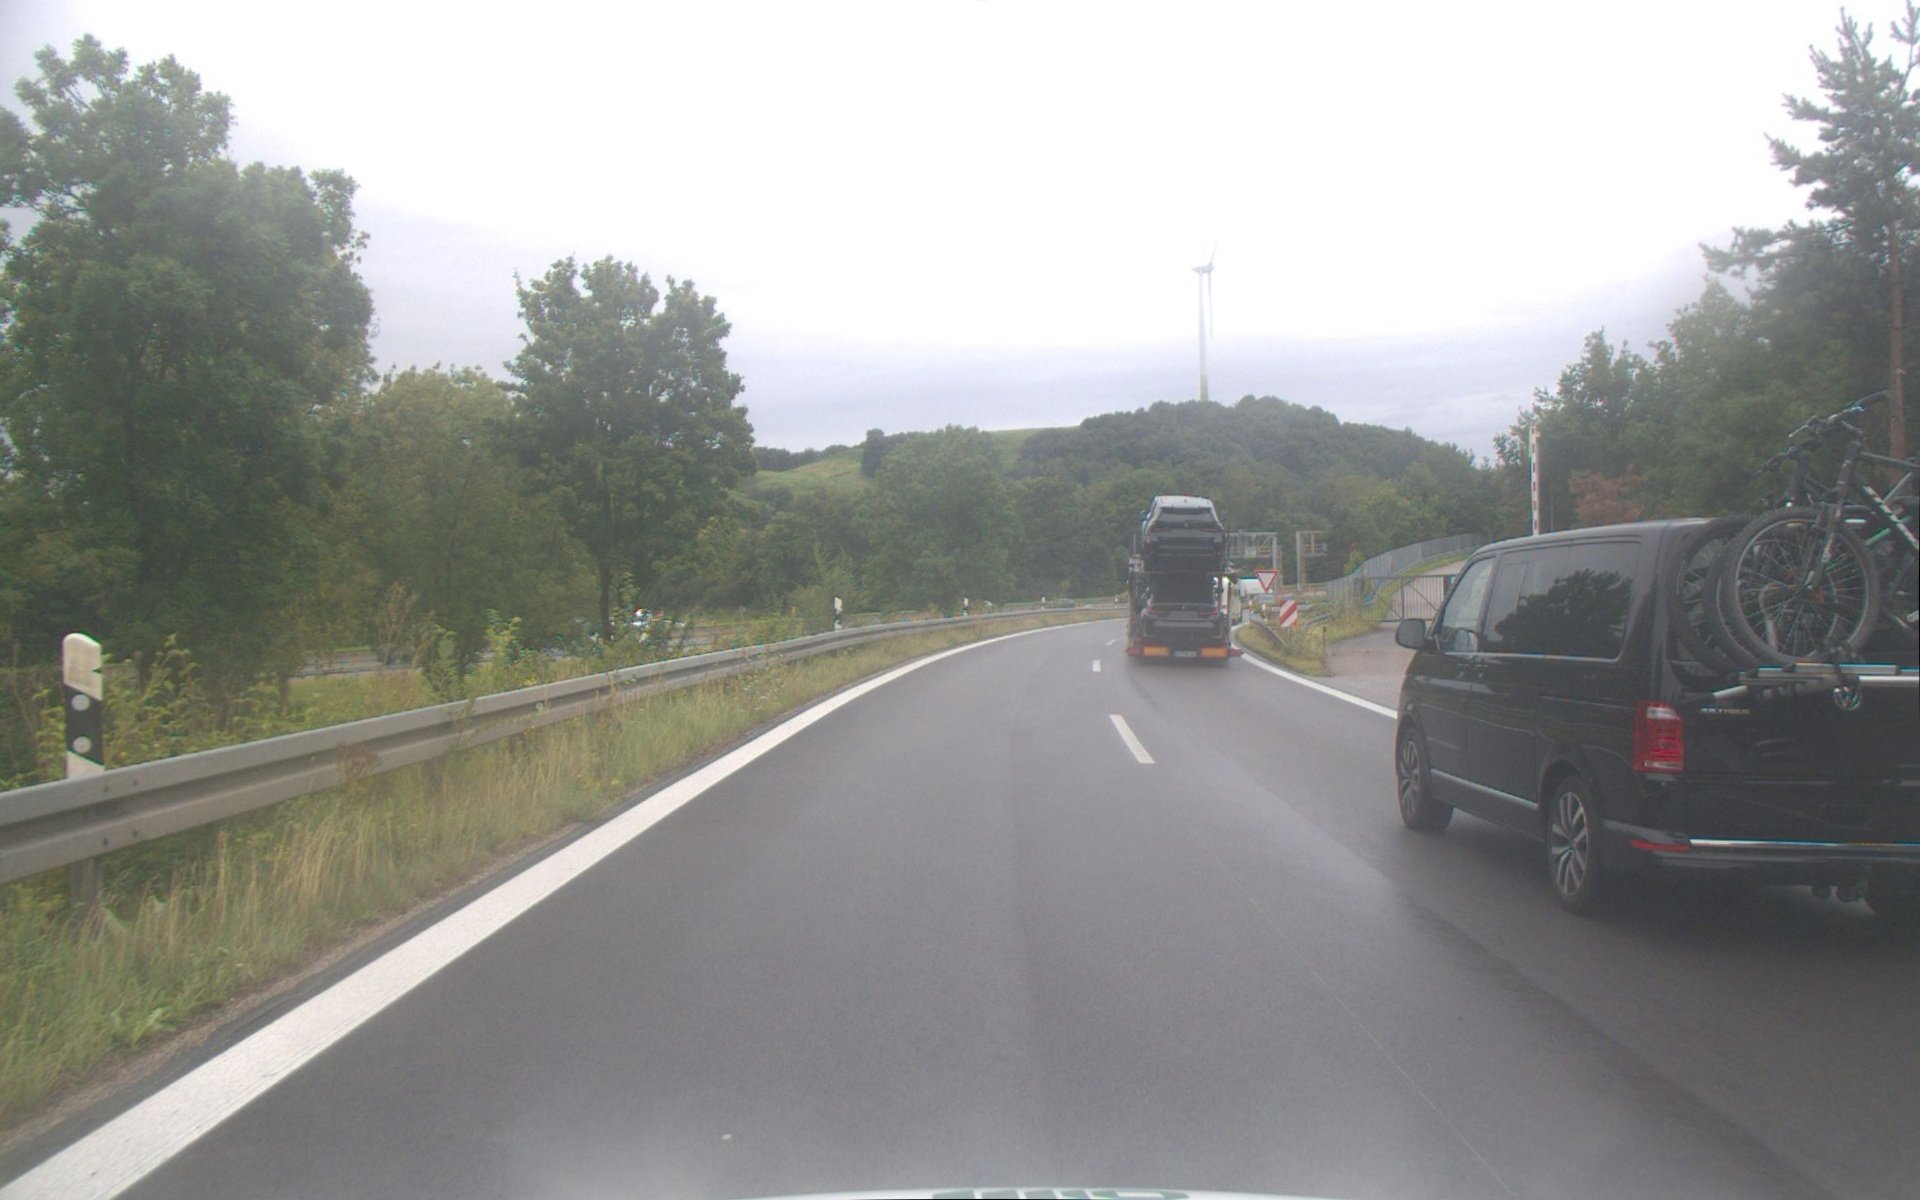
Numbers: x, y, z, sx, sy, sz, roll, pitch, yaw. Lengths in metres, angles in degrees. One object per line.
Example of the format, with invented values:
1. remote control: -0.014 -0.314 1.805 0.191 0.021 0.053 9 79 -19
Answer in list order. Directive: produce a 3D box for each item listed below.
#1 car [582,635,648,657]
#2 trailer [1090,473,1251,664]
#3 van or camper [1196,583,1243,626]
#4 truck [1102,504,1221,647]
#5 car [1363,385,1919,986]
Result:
1. car: -29.086 3.867 139.702 5.283 1.747 1.967 0 -1 -44
2. trailer: 5.218 -0.707 41.970 3.376 4.069 12.035 1 0 6
3. van or camper: 14.269 0.227 90.871 2.048 2.270 4.434 1 0 15
4. truck: 6.426 -0.716 53.412 3.323 4.069 10.854 1 0 6
5. car: 3.981 0.325 9.341 2.066 2.304 5.897 1 0 1
